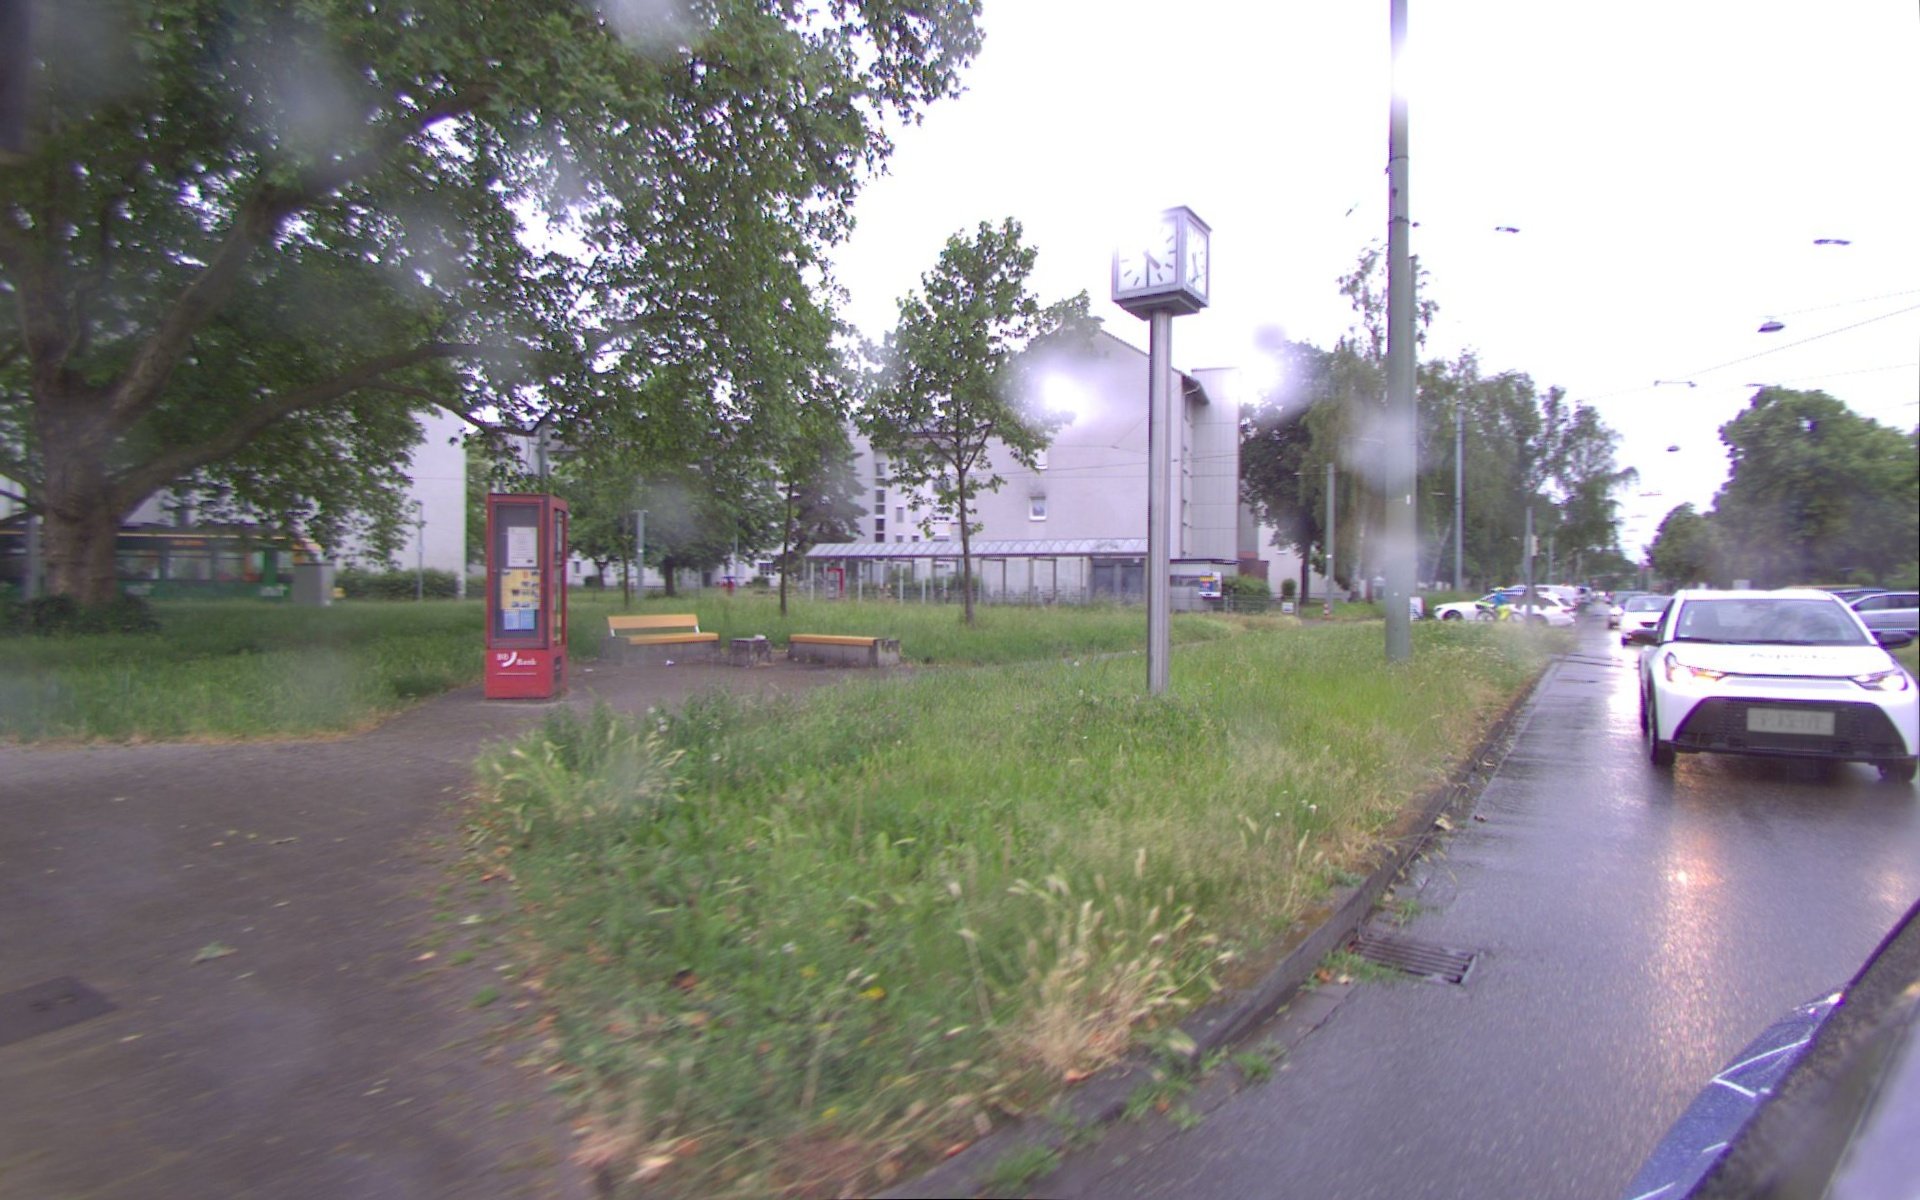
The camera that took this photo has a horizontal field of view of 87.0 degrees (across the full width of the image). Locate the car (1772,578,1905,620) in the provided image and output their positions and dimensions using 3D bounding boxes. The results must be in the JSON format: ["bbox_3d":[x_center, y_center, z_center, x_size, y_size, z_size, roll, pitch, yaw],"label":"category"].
[{"bbox_3d":[37.760,-0.041,43.636,4.060,1.731,1.877,-1,0,33],"label":"car"}]

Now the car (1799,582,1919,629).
[{"bbox_3d":[33.682,0.202,37.377,3.918,1.695,1.773,-1,0,33],"label":"car"}]

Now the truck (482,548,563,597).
[{"bbox_3d":[-33.702,-2.047,77.846,7.123,3.518,3.152,-1,0,44],"label":"truck"}]

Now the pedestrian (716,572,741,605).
[{"bbox_3d":[-13.959,-0.684,60.960,1.166,1.907,1.055,-1,-1,-29],"label":"pedestrian"}]

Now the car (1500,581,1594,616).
[{"bbox_3d":[32.994,-0.053,56.911,4.415,1.869,1.701,-1,0,35],"label":"car"}]

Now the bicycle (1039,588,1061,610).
[{"bbox_3d":[3.997,-0.059,44.738,0.375,0.968,1.222,-2,0,36],"label":"bicycle"}]

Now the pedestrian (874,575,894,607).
[{"bbox_3d":[-3.837,-0.471,51.211,0.631,1.592,0.781,-2,-1,32],"label":"pedestrian"}]

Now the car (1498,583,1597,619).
[{"bbox_3d":[28.110,0.050,48.446,3.973,1.606,1.701,-1,0,35],"label":"car"}]

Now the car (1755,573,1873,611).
[{"bbox_3d":[42.907,-0.384,50.978,4.273,1.832,1.877,-1,0,33],"label":"car"}]

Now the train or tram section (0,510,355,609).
[{"bbox_3d":[-31.795,-1.468,39.046,14.430,3.635,2.719,0,-1,-12],"label":"train or tram section"}]

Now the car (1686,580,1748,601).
[{"bbox_3d":[71.953,-0.900,96.257,4.515,1.968,1.877,-1,0,33],"label":"car"}]

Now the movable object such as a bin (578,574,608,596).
[{"bbox_3d":[-35.309,-1.476,97.485,1.872,2.039,2.233,-1,0,7],"label":"movable object such as a bin"}]

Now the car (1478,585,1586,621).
[{"bbox_3d":[25.081,0.149,44.420,3.973,1.505,1.701,-1,0,35],"label":"car"}]

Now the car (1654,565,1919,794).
[{"bbox_3d":[7.382,0.612,9.183,1.708,1.644,3.669,0,-1,33],"label":"car"}]

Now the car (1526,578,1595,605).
[{"bbox_3d":[46.323,-0.624,78.066,4.515,1.968,1.877,-1,0,33],"label":"car"}]

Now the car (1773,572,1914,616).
[{"bbox_3d":[36.071,-0.217,41.461,4.060,1.731,1.877,-1,0,33],"label":"car"}]

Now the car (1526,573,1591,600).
[{"bbox_3d":[48.335,-1.084,81.841,4.408,2.088,1.704,-1,0,31],"label":"car"}]

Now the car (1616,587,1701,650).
[{"bbox_3d":[20.562,0.480,29.785,1.951,1.572,3.951,0,2,35],"label":"car"}]

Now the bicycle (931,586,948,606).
[{"bbox_3d":[-0.960,-0.196,48.695,0.412,0.959,1.300,-1,0,17],"label":"bicycle"}]

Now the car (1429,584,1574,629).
[{"bbox_3d":[21.194,0.223,39.676,4.811,1.476,1.975,3,2,35],"label":"car"}]

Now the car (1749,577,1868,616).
[{"bbox_3d":[44.468,-0.180,53.178,4.515,1.968,1.877,-1,0,33],"label":"car"}]

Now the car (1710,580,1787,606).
[{"bbox_3d":[61.635,-0.545,79.193,4.515,1.968,1.877,-1,0,33],"label":"car"}]

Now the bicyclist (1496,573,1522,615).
[{"bbox_3d":[20.225,-0.214,37.302,0.688,1.536,0.721,0,-1,14],"label":"bicyclist"}]

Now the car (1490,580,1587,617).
[{"bbox_3d":[31.444,-0.079,55.075,4.415,1.869,1.701,-1,0,35],"label":"car"}]

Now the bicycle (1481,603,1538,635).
[{"bbox_3d":[20.227,0.703,37.280,1.728,1.144,0.725,0,-1,15],"label":"bicycle"}]

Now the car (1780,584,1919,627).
[{"bbox_3d":[34.779,0.219,39.514,4.060,1.591,1.977,-1,0,33],"label":"car"}]

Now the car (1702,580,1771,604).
[{"bbox_3d":[66.753,-0.656,87.117,4.515,1.968,1.877,-1,0,33],"label":"car"}]

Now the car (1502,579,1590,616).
[{"bbox_3d":[34.369,-0.144,59.460,4.408,2.088,1.704,-1,0,31],"label":"car"}]

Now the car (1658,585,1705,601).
[{"bbox_3d":[88.018,-0.842,123.528,4.515,1.968,1.877,-1,0,33],"label":"car"}]

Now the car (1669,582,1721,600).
[{"bbox_3d":[80.881,-0.999,111.461,4.515,1.968,1.877,-1,0,33],"label":"car"}]

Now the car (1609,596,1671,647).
[{"bbox_3d":[29.230,0.884,43.601,1.984,2.039,3.955,-2,0,32],"label":"car"}]

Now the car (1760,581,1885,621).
[{"bbox_3d":[39.217,0.044,46.160,4.060,1.731,1.877,-1,0,33],"label":"car"}]

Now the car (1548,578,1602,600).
[{"bbox_3d":[60.290,-1.070,99.246,4.515,2.051,1.877,-1,0,33],"label":"car"}]

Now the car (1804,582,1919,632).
[{"bbox_3d":[32.559,0.229,35.482,4.305,1.695,1.977,-1,0,33],"label":"car"}]
